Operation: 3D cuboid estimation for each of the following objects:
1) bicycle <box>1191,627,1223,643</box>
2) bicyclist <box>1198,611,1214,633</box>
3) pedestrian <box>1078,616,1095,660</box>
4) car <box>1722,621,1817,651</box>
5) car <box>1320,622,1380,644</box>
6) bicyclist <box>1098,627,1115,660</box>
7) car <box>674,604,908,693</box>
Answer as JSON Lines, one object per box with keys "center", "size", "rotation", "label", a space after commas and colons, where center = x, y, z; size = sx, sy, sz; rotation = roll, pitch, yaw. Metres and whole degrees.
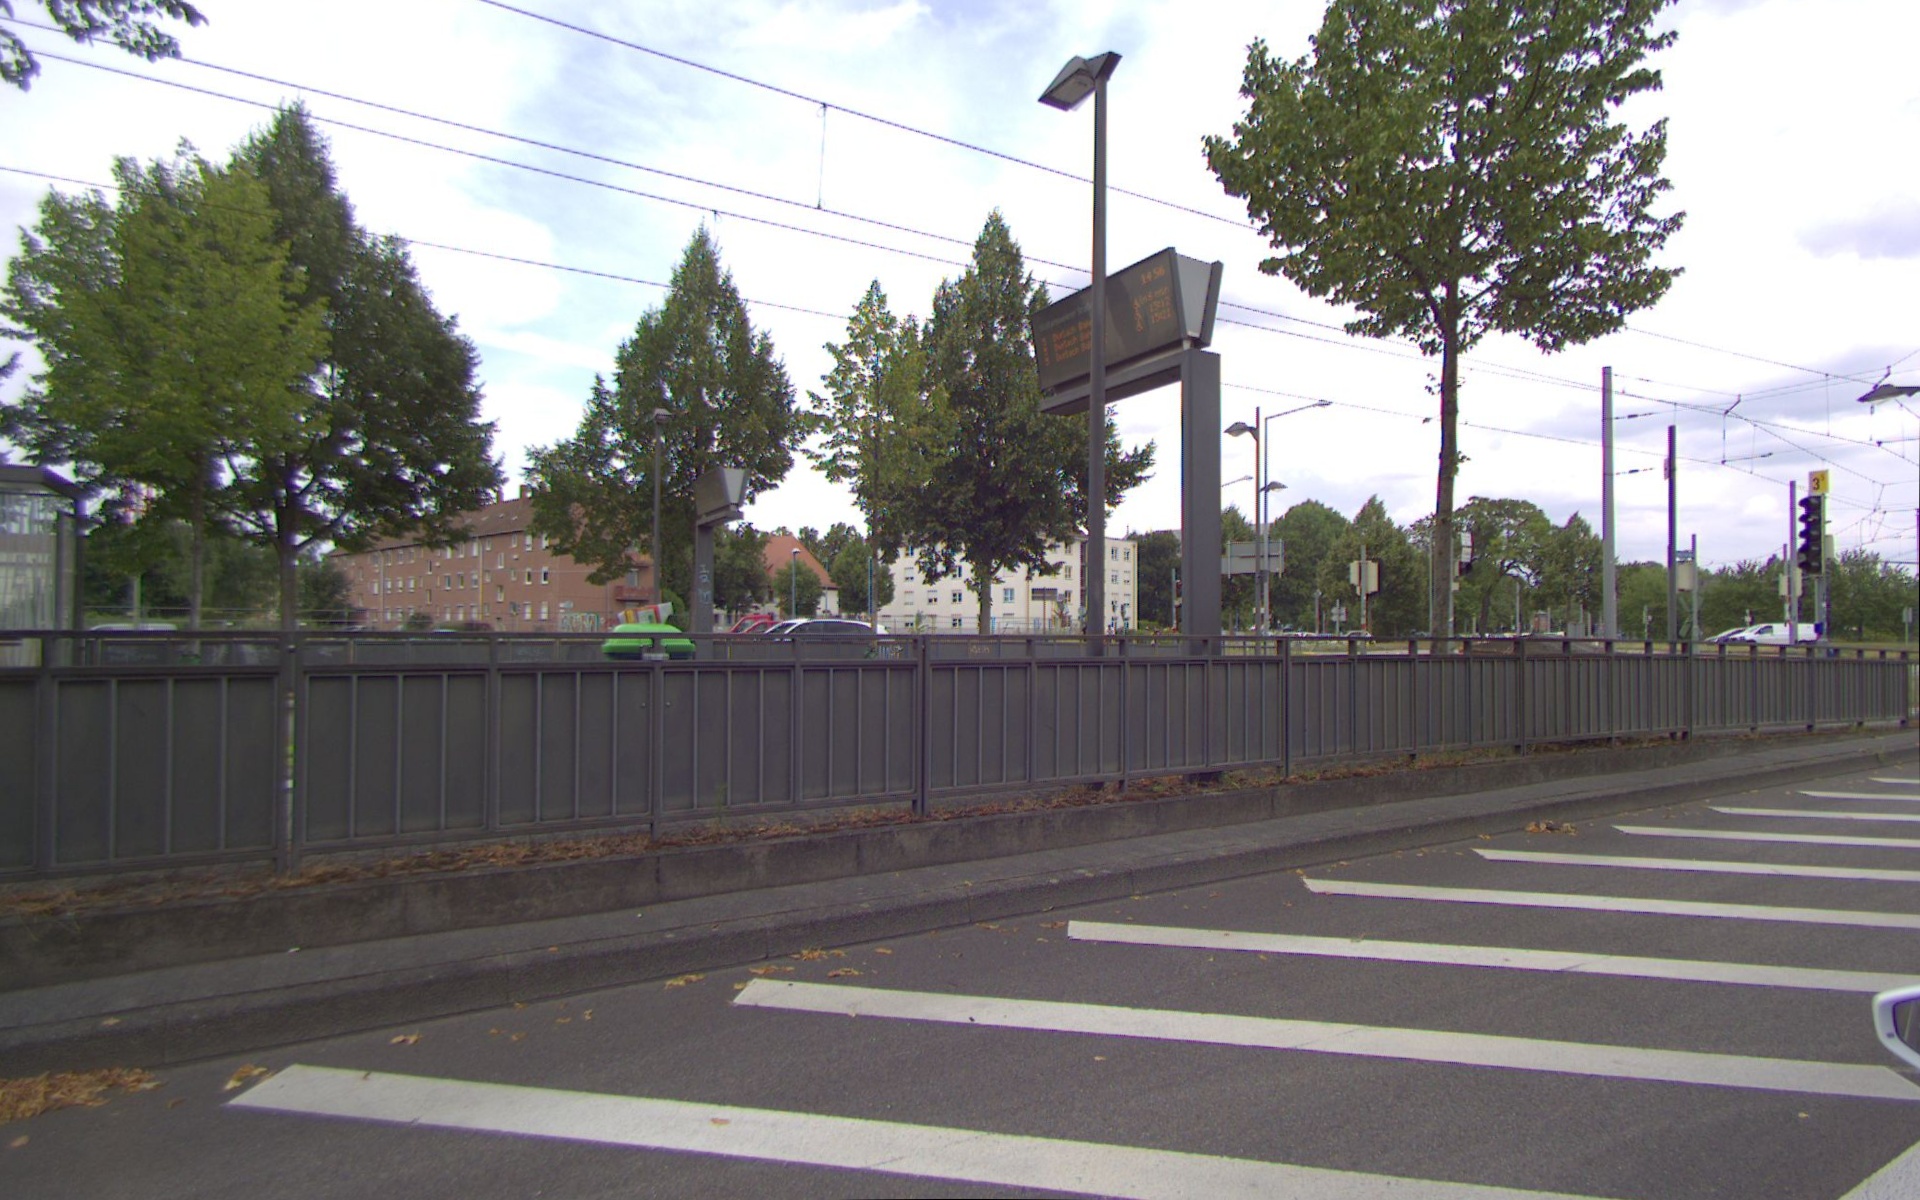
{"center": [17.953, 2.548, 72.978], "size": [2.684, 1.144, 0.800], "rotation": [1, -1, -39], "label": "bicycle"}
{"center": [17.886, 1.568, 72.934], "size": [0.745, 1.583, 0.880], "rotation": [1, -2, -42], "label": "bicyclist"}
{"center": [5.469, 1.626, 43.486], "size": [0.636, 1.874, 0.491], "rotation": [0, -1, 22], "label": "pedestrian"}
{"center": [57.969, 2.558, 72.044], "size": [4.900, 2.040, 2.001], "rotation": [0, -1, 17], "label": "car"}
{"center": [30.039, 2.571, 77.437], "size": [3.920, 1.663, 2.001], "rotation": [0, -1, 1], "label": "car"}
{"center": [8.391, 2.470, 57.515], "size": [0.815, 1.859, 0.783], "rotation": [0, -1, 22], "label": "bicyclist"}
{"center": [-3.439, 0.949, 20.573], "size": [4.332, 1.639, 1.984], "rotation": [1, -1, -30], "label": "car"}
